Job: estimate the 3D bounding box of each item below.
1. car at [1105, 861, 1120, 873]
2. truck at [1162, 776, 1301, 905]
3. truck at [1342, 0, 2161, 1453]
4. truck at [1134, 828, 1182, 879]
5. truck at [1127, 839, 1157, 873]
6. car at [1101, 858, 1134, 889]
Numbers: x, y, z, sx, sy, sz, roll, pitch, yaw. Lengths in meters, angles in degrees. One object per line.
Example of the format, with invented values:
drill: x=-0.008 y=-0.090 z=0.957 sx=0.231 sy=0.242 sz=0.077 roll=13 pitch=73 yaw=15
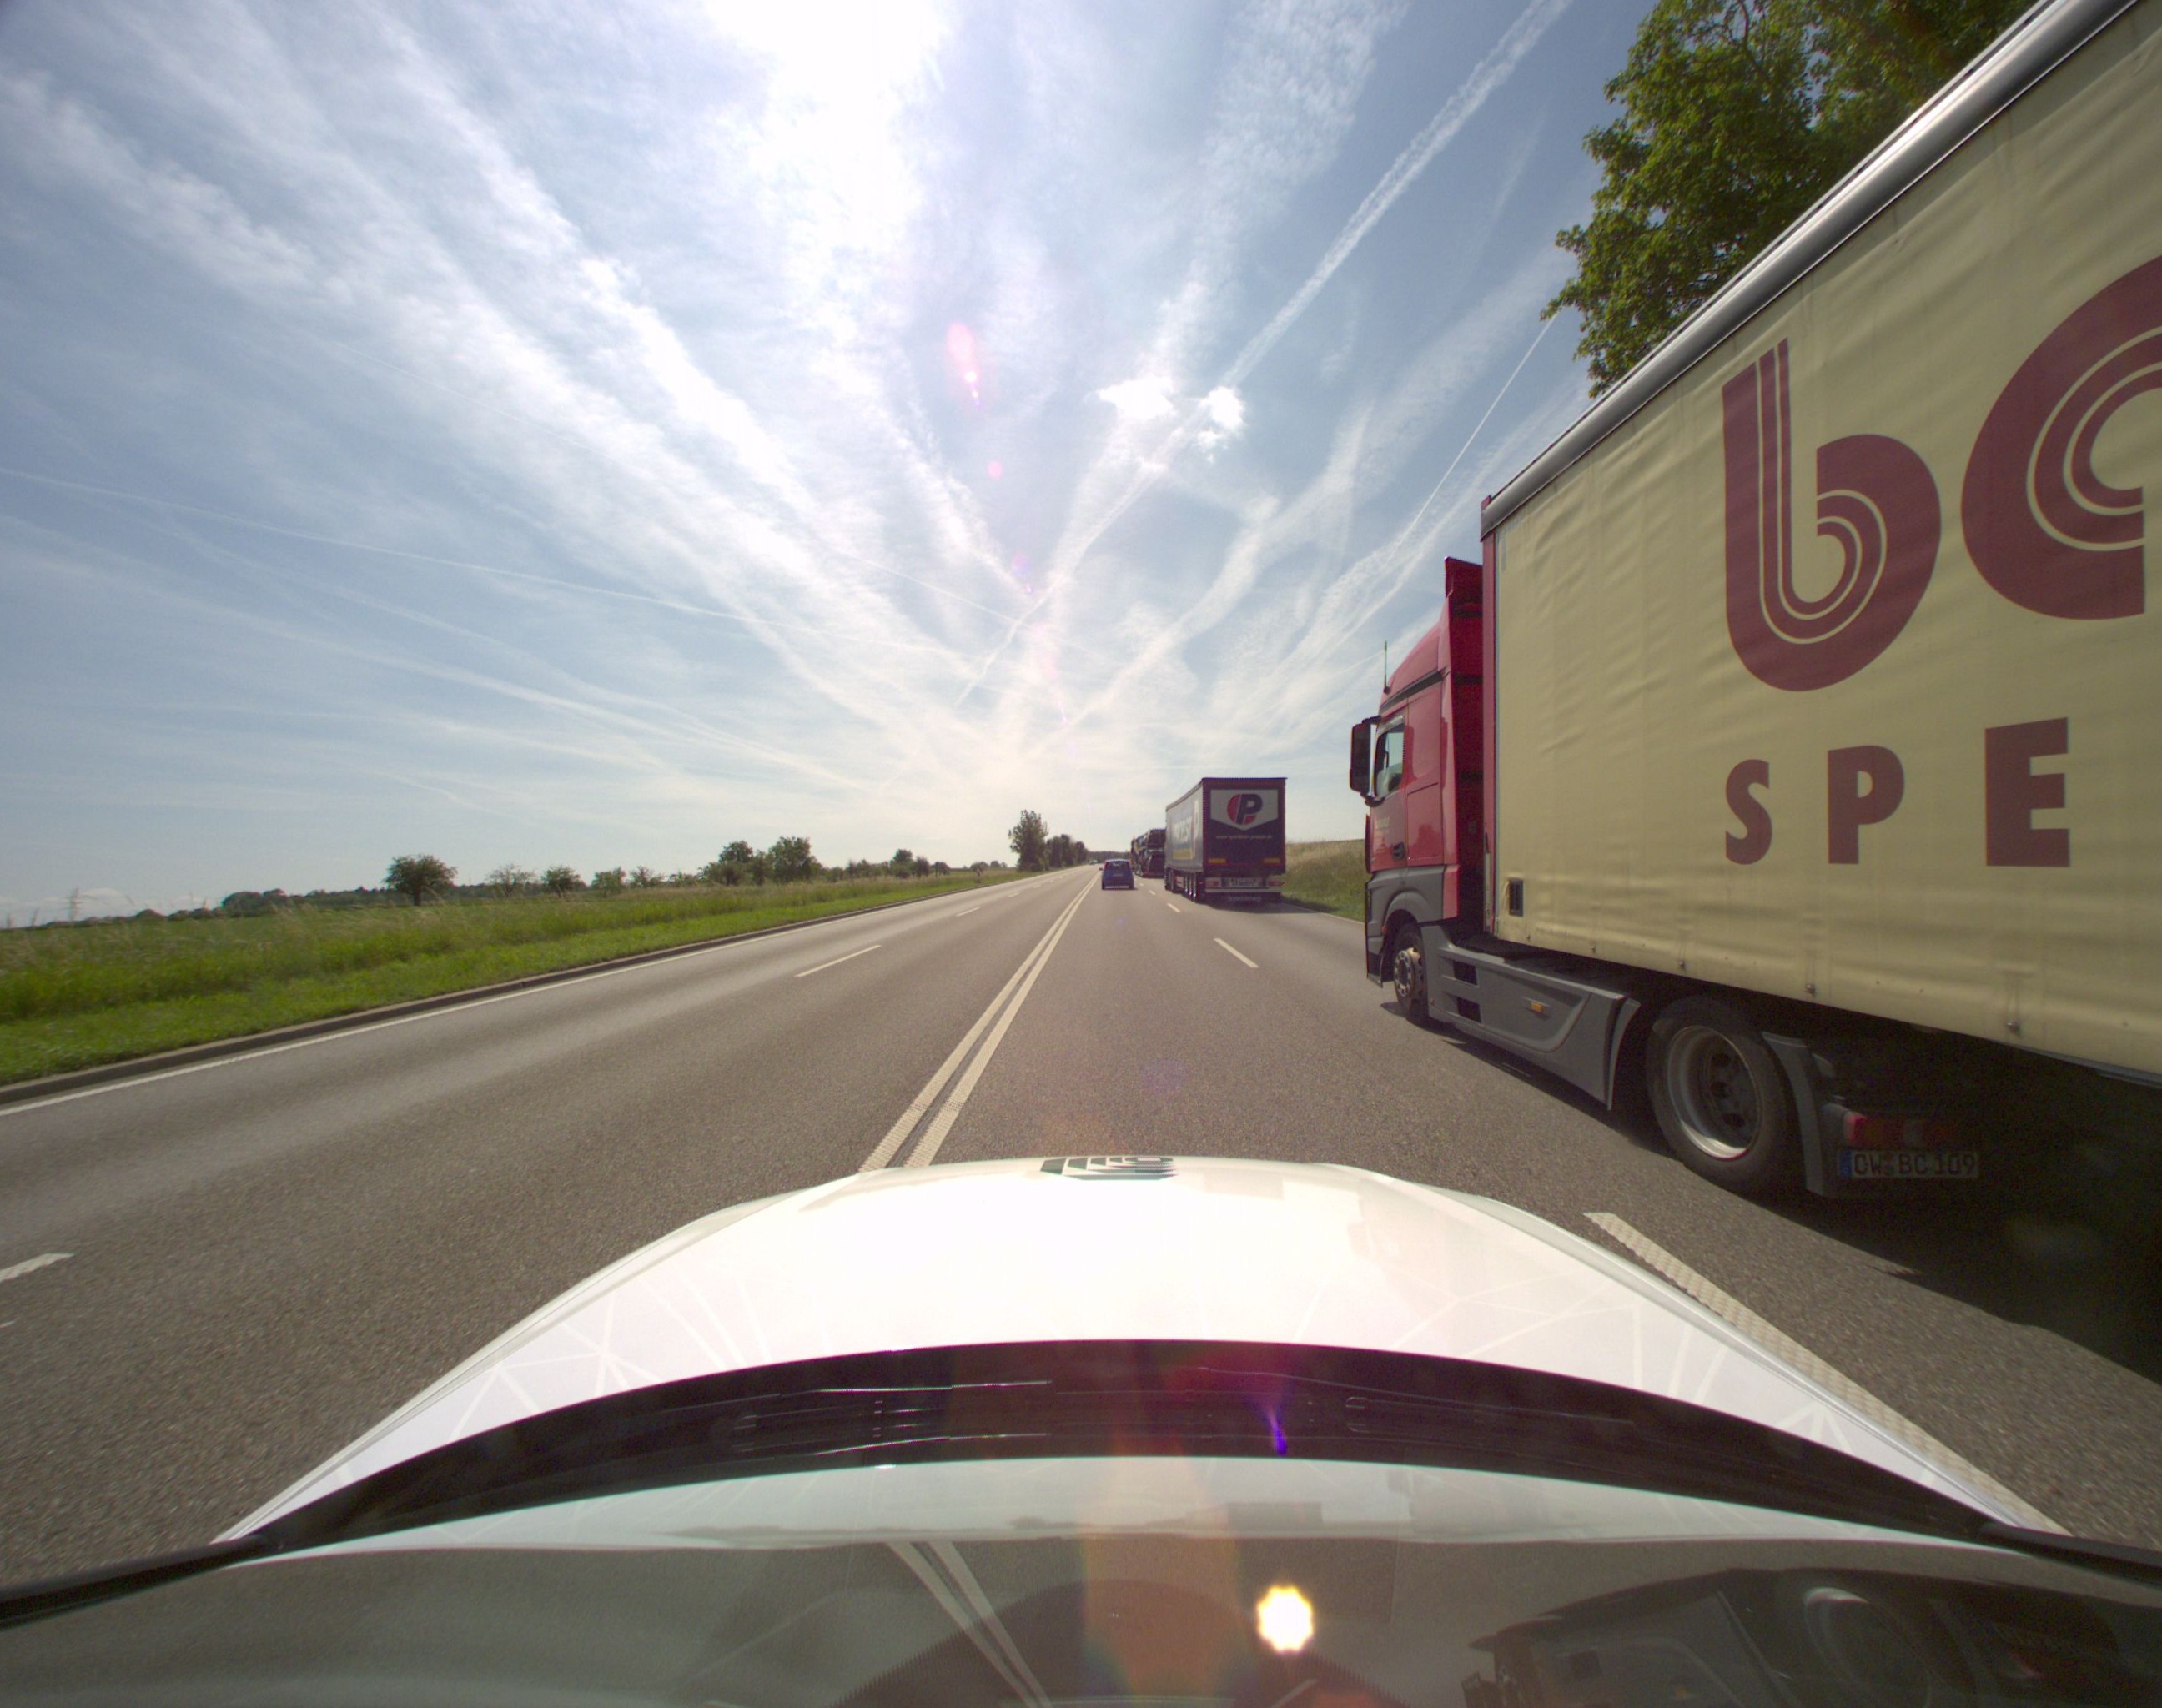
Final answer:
car: x=3.667 y=1.509 z=96.066 sx=1.697 sy=1.376 sz=4.603 roll=0 pitch=-1 yaw=1
truck: x=5.345 y=-0.356 z=32.637 sx=3.036 sy=3.910 sz=15.619 roll=-1 pitch=-1 yaw=1
truck: x=4.088 y=-0.651 z=0.189 sx=2.996 sy=4.180 sz=16.716 roll=0 pitch=0 yaw=1
truck: x=6.560 y=0.039 z=72.160 sx=3.035 sy=3.910 sz=18.405 roll=-1 pitch=0 yaw=2
truck: x=7.587 y=0.286 z=104.183 sx=3.035 sy=3.910 sz=18.405 roll=-1 pitch=0 yaw=2
car: x=1.961 y=1.014 z=43.225 sx=1.624 sy=1.531 sz=3.919 roll=-1 pitch=0 yaw=4
